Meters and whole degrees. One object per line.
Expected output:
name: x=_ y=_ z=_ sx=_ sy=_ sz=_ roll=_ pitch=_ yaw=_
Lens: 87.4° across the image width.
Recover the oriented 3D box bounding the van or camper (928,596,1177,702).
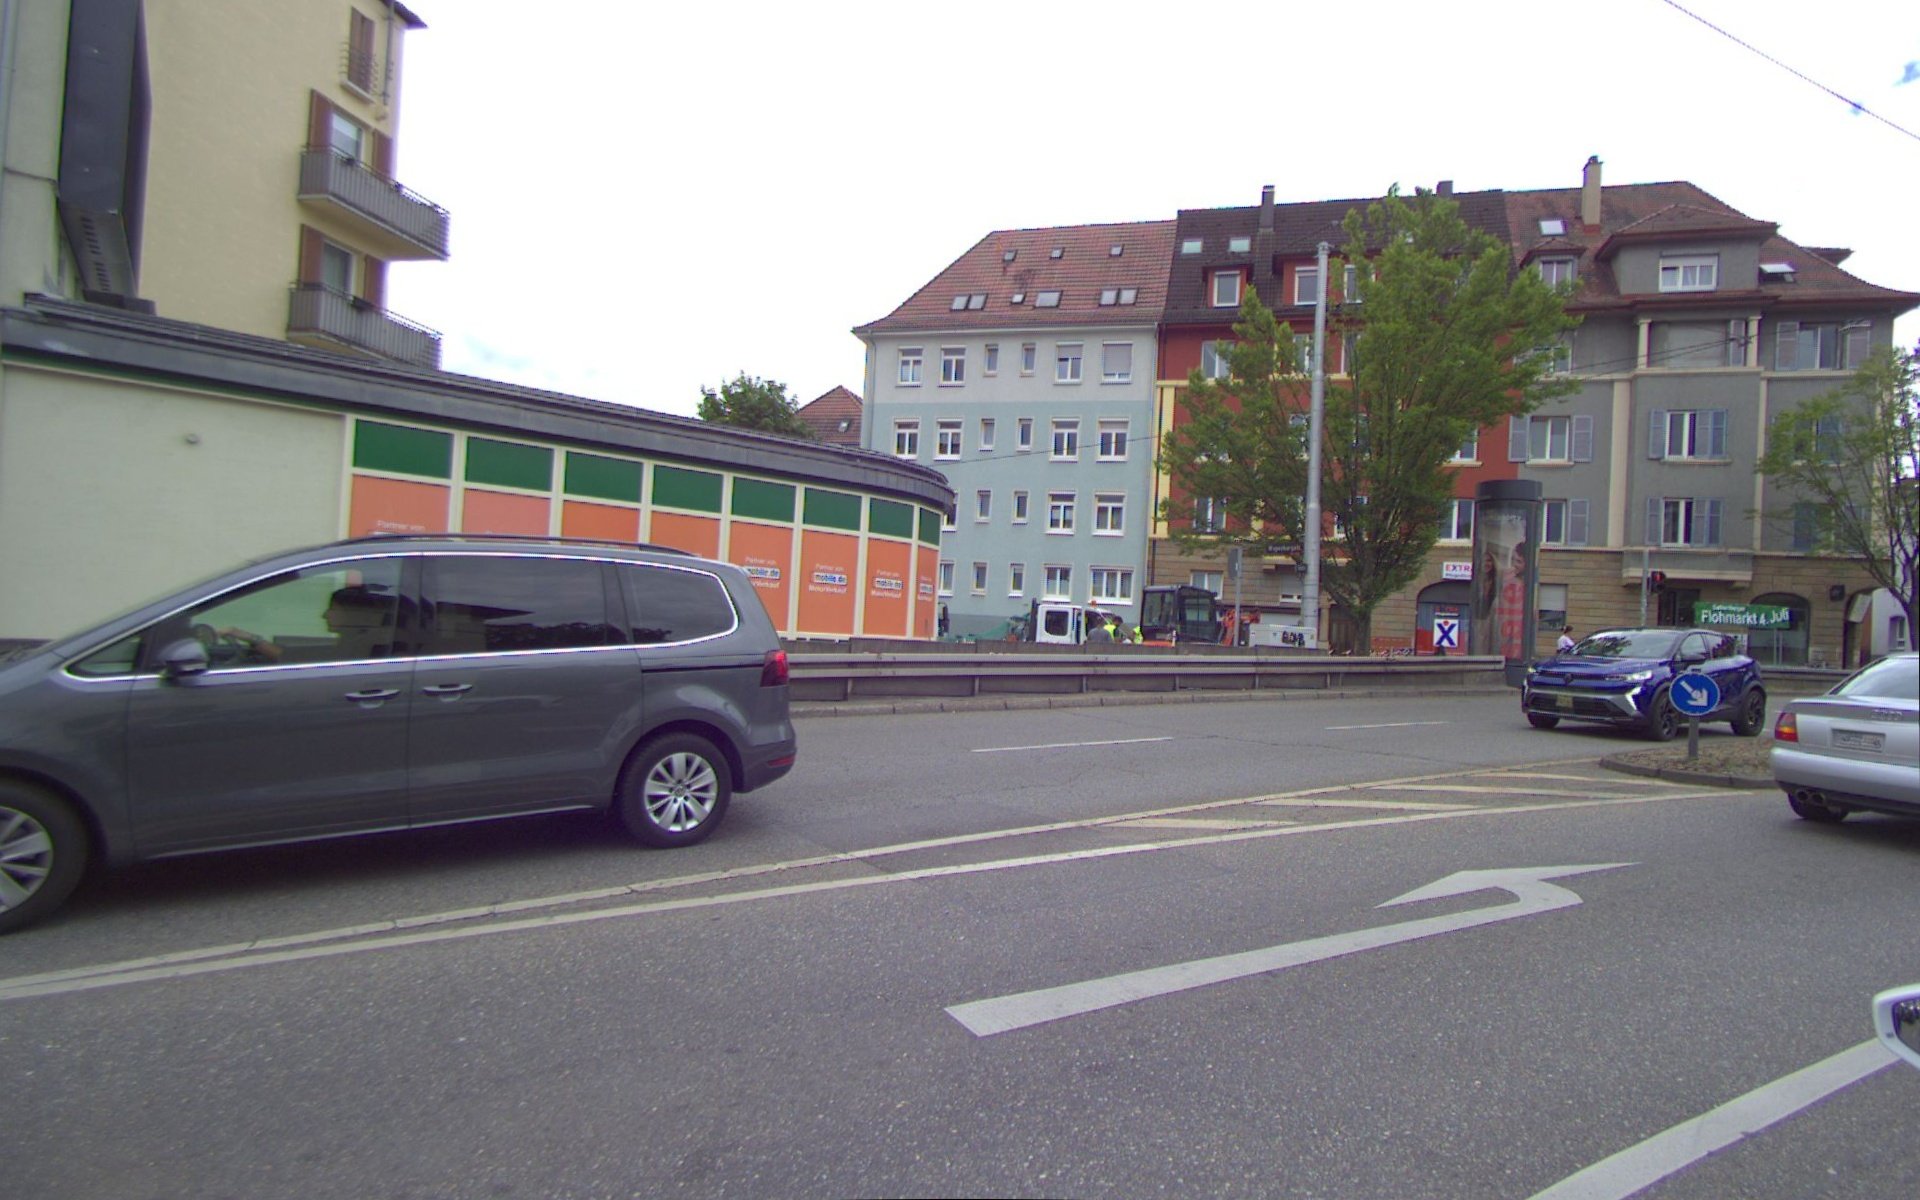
van or camper: x=2.425 y=1.186 z=26.070 sx=5.888 sy=2.369 sz=2.688 roll=2 pitch=-1 yaw=21

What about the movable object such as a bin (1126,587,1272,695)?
movable object such as a bin: x=4.971 y=0.821 z=20.657 sx=1.360 sy=2.040 sz=3.517 roll=1 pitch=-1 yaw=43

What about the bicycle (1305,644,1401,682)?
bicycle: x=13.576 y=2.191 z=34.673 sx=3.308 sy=1.218 sz=0.901 roll=2 pitch=-1 yaw=-21

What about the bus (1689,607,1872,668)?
bus: x=48.233 y=2.102 z=59.761 sx=3.103 sy=3.137 sz=12.159 roll=2 pitch=0 yaw=12

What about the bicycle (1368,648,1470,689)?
bicycle: x=14.529 y=2.165 z=31.787 sx=3.308 sy=1.218 sz=0.815 roll=2 pitch=-1 yaw=-21

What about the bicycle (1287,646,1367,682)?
bicycle: x=13.101 y=2.294 z=35.852 sx=2.792 sy=1.218 sz=0.815 roll=2 pitch=-1 yaw=-21

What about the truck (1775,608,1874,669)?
truck: x=52.139 y=2.258 z=60.759 sx=2.646 sy=3.398 sz=5.439 roll=3 pitch=0 yaw=20

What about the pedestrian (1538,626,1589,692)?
pedestrian: x=14.856 y=1.443 z=24.737 sx=0.725 sy=1.567 sz=0.793 roll=2 pitch=0 yaw=-13

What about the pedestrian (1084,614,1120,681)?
pedestrian: x=2.992 y=0.990 z=21.243 sx=0.613 sy=1.381 sz=0.601 roll=2 pitch=0 yaw=-3

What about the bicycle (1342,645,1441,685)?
bicycle: x=14.154 y=2.145 z=32.922 sx=3.308 sy=1.218 sz=0.815 roll=2 pitch=-1 yaw=-21

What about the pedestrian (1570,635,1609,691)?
pedestrian: x=15.659 y=1.562 z=24.987 sx=0.574 sy=1.356 sz=0.574 roll=2 pitch=0 yaw=-13

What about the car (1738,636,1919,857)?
car: x=8.033 y=1.040 z=7.620 sx=4.071 sy=1.383 sz=1.624 roll=2 pitch=1 yaw=-24

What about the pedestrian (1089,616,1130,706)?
pedestrian: x=3.514 y=1.416 z=23.611 sx=0.810 sy=2.040 sz=0.680 roll=2 pitch=0 yaw=16

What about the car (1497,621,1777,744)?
car: x=9.978 y=1.153 z=14.771 sx=3.986 sy=1.551 sz=1.780 roll=2 pitch=-1 yaw=-29

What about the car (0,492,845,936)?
car: x=-3.151 y=0.496 z=5.590 sx=4.676 sy=1.737 sz=1.890 roll=2 pitch=-1 yaw=-38

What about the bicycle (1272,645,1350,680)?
bicycle: x=12.810 y=2.288 z=36.679 sx=2.792 sy=1.218 sz=0.815 roll=2 pitch=-1 yaw=-21

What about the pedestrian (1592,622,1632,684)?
pedestrian: x=16.328 y=1.326 z=25.156 sx=0.642 sy=1.507 sz=0.522 roll=2 pitch=0 yaw=-13

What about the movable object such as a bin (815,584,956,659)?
movable object such as a bin: x=-2.518 y=0.631 z=31.670 sx=2.364 sy=2.099 sz=6.214 roll=2 pitch=-1 yaw=-25
